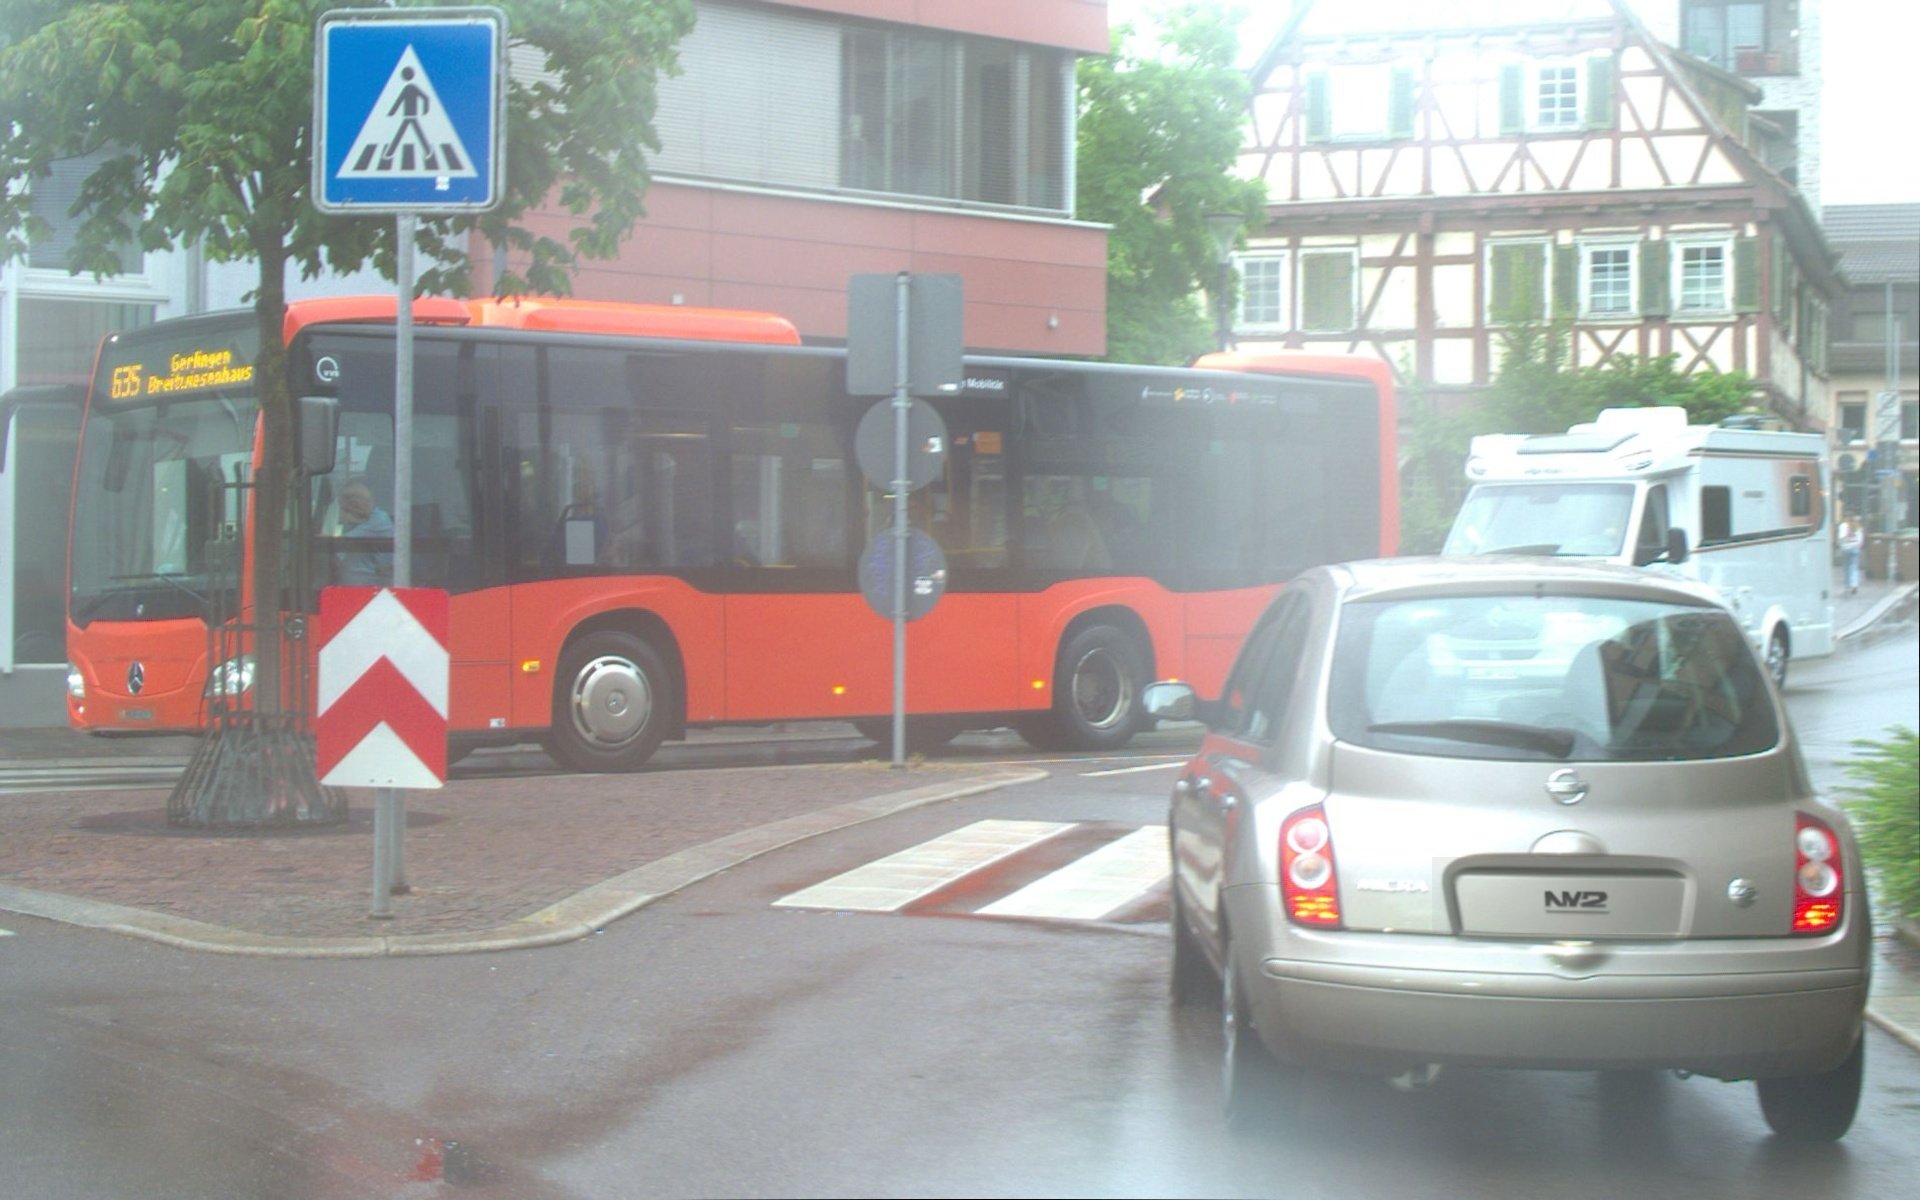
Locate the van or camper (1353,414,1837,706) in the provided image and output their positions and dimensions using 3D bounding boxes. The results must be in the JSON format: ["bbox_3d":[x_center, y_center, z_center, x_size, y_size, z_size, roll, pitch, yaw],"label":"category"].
[{"bbox_3d":[6.425,-0.387,33.909,2.442,2.577,6.739,1,1,31],"label":"van or camper"}]

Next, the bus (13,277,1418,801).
[{"bbox_3d":[-1.251,-0.479,24.767,10.578,3.078,2.821,-1,2,-42],"label":"bus"}]

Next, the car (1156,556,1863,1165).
[{"bbox_3d":[1.432,0.614,10.039,1.522,1.466,3.341,0,1,0],"label":"car"}]
